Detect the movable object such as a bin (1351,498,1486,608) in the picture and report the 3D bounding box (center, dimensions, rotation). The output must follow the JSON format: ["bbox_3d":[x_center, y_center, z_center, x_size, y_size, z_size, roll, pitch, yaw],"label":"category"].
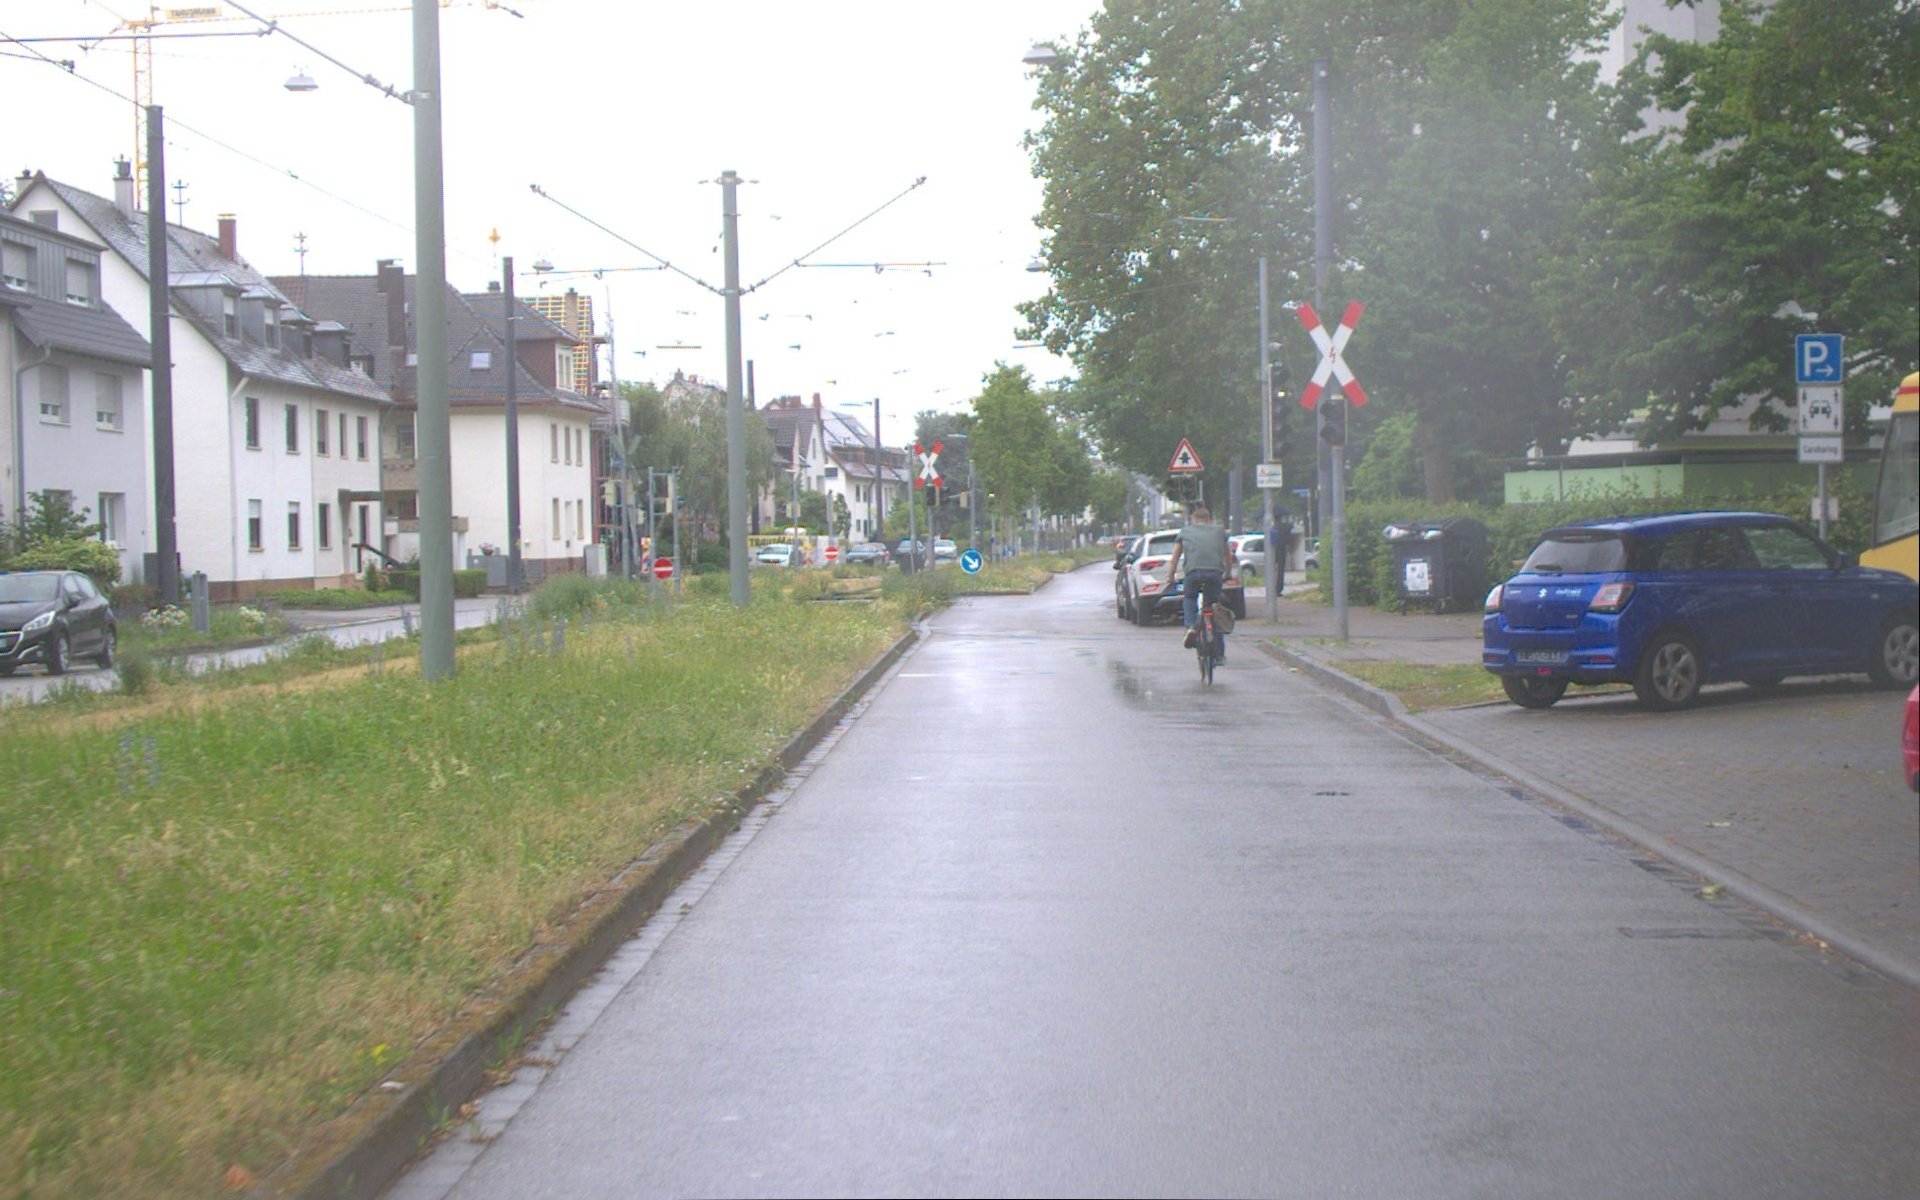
[{"bbox_3d":[7.360,-0.748,55.267,1.549,1.698,1.501,-2,1,-22],"label":"movable object such as a bin"}]

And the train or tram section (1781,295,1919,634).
[{"bbox_3d":[14.878,-1.447,32.949,2.707,3.577,14.731,0,0,-42],"label":"train or tram section"}]

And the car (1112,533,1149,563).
[{"bbox_3d":[9.671,-2.945,195.376,1.993,1.487,4.000,-1,-1,1],"label":"car"}]

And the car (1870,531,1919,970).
[{"bbox_3d":[5.370,0.396,11.953,4.109,1.475,1.866,-4,2,-30],"label":"car"}]

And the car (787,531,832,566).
[{"bbox_3d":[-7.855,-2.684,179.725,1.994,1.699,3.999,-1,-1,2],"label":"car"}]

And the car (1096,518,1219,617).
[{"bbox_3d":[3.561,-0.575,62.613,1.941,1.646,4.000,-3,0,0],"label":"car"}]

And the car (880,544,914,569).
[{"bbox_3d":[-4.233,-2.907,230.755,1.994,1.539,3.999,-1,-1,2],"label":"car"}]

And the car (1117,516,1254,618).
[{"bbox_3d":[3.726,-0.539,57.472,1.954,1.548,4.000,-3,0,0],"label":"car"}]

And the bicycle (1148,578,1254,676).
[{"bbox_3d":[2.349,0.253,33.705,0.821,0.909,1.986,-2,0,-2],"label":"bicycle"}]

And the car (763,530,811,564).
[{"bbox_3d":[-8.672,-2.643,172.826,1.994,1.539,3.999,-1,-1,2],"label":"car"}]

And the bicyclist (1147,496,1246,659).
[{"bbox_3d":[2.322,-0.223,33.819,0.831,1.553,0.914,-2,0,-2],"label":"bicyclist"}]

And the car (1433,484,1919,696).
[{"bbox_3d":[5.979,-0.137,27.327,3.987,1.478,2.000,-3,3,-30],"label":"car"}]

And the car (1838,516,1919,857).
[{"bbox_3d":[5.926,0.285,15.382,3.587,1.475,1.638,-4,2,-25],"label":"car"}]

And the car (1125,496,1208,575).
[{"bbox_3d":[5.629,-1.745,94.004,1.941,2.006,4.000,-3,0,0],"label":"car"}]

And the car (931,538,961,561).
[{"bbox_3d":[-1.005,-3.705,251.692,1.994,1.539,3.999,-1,-1,2],"label":"car"}]

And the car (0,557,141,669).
[{"bbox_3d":[-13.105,0.210,48.824,1.877,1.498,4.133,-1,-1,1],"label":"car"}]

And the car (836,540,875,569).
[{"bbox_3d":[-6.202,-2.698,204.403,1.994,1.539,3.999,-1,-1,2],"label":"car"}]
